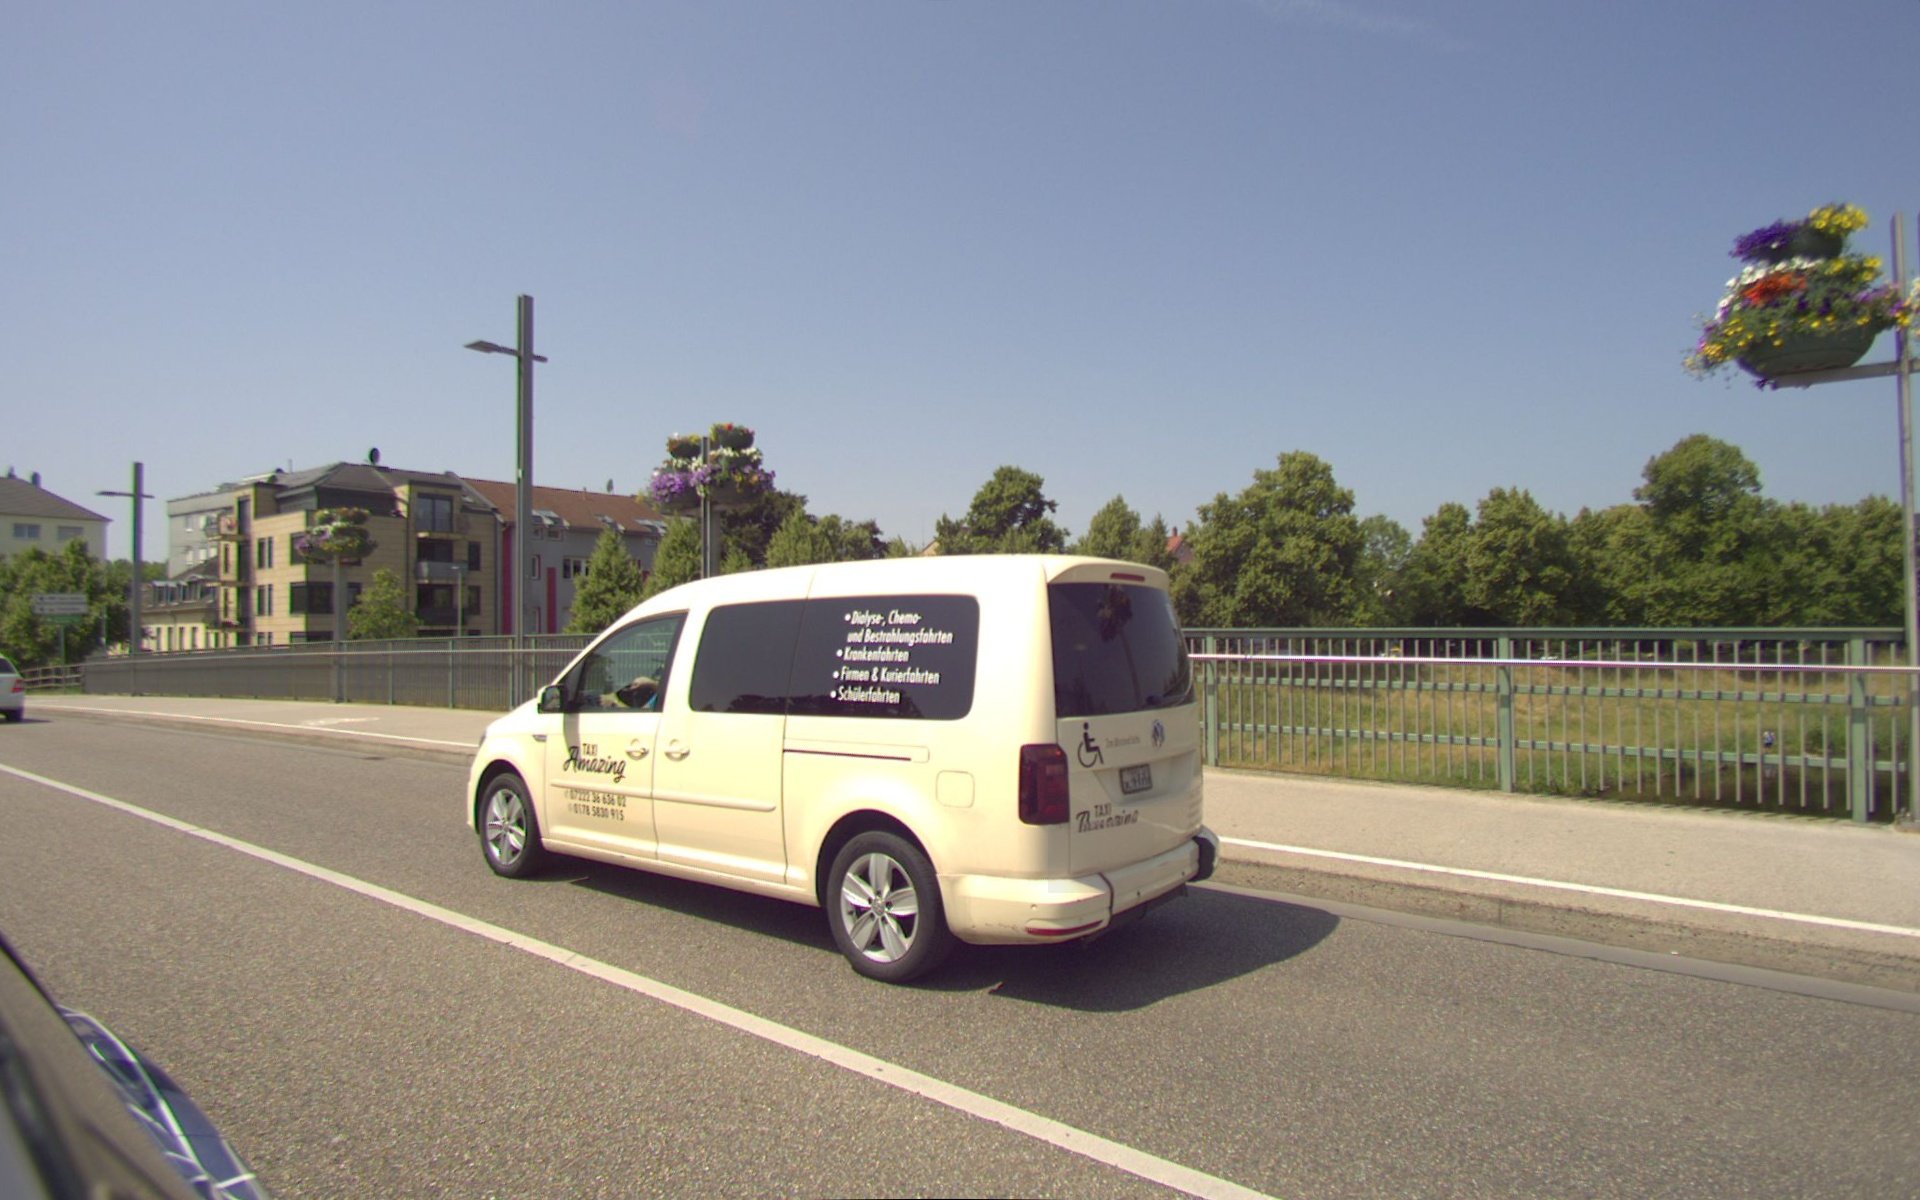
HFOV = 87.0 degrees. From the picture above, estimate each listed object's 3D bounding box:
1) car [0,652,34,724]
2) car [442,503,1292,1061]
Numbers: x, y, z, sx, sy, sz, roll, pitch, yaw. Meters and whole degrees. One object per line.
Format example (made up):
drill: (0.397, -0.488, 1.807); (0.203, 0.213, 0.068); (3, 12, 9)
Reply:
car: (-21.254, 1.817, 21.113); (4.702, 1.443, 1.828); (-3, -4, 35)
car: (-0.795, 0.675, 5.511); (4.638, 1.871, 1.743); (-2, -2, 37)
